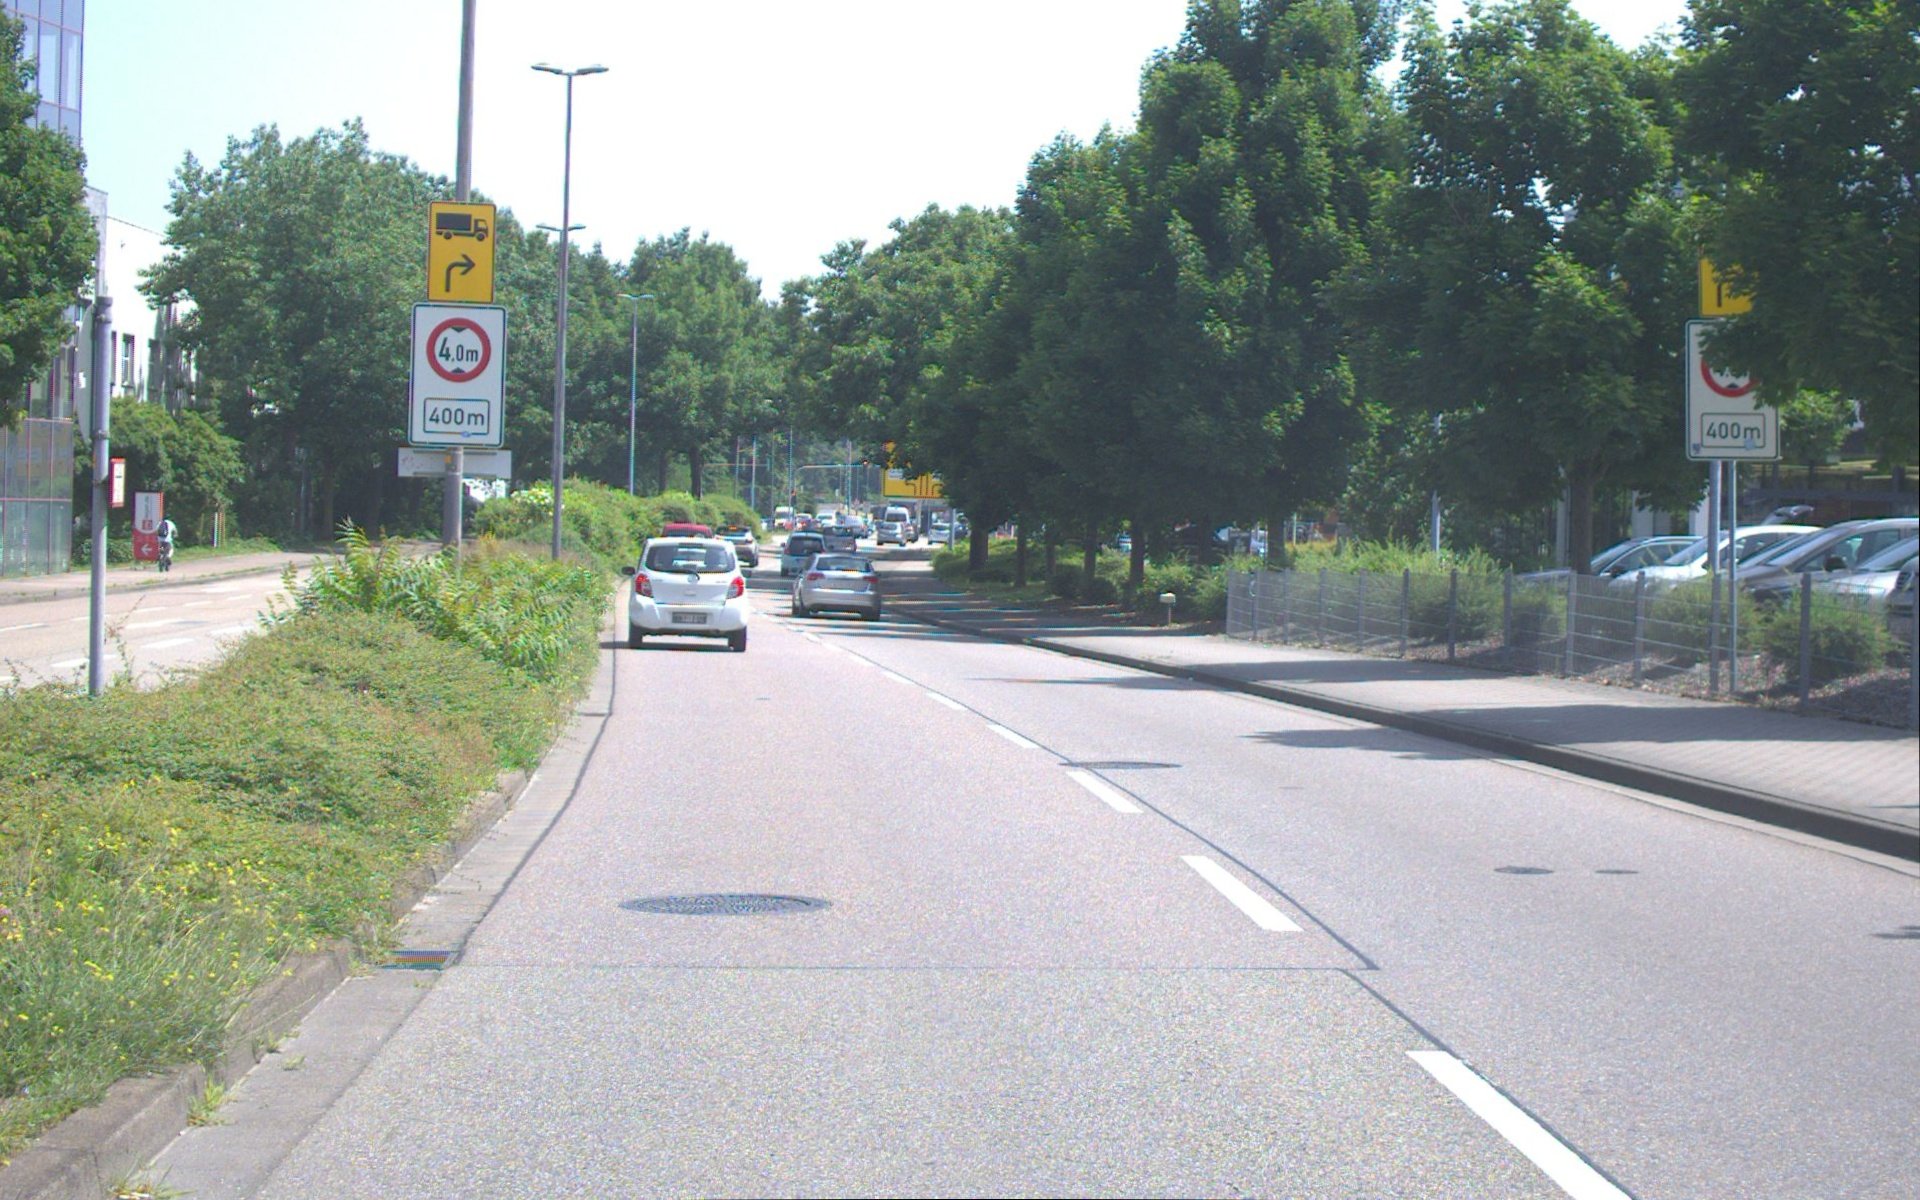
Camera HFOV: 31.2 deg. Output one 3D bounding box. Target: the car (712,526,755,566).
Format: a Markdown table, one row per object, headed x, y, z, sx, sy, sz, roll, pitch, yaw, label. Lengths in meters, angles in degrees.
| x | y | z | sx | sy | sz | roll | pitch | yaw | label |
| --- | --- | --- | --- | --- | --- | --- | --- | --- | --- |
| -8.379 | -2.008 | 127.010 | 1.487 | 1.387 | 3.308 | 3 | 1 | -5 | car |

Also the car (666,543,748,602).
| x | y | z | sx | sy | sz | roll | pitch | yaw | label |
| --- | --- | --- | --- | --- | --- | --- | --- | --- | --- |
| -6.373 | -0.710 | 86.392 | 1.884 | 1.349 | 4.001 | 3 | 1 | -6 | car |

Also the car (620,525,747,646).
| x | y | z | sx | sy | sz | roll | pitch | yaw | label |
| --- | --- | --- | --- | --- | --- | --- | --- | --- | --- |
| -3.811 | -0.221 | 47.775 | 1.638 | 1.546 | 3.325 | 2 | 1 | -4 | car |

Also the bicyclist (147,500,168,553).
| x | y | z | sx | sy | sz | roll | pitch | yaw | label |
| --- | --- | --- | --- | --- | --- | --- | --- | --- | --- |
| -23.029 | -2.113 | 98.648 | 0.545 | 1.504 | 0.343 | -1 | 1 | -5 | bicyclist |

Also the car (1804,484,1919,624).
| x | y | z | sx | sy | sz | roll | pitch | yaw | label |
| --- | --- | --- | --- | --- | --- | --- | --- | --- | --- |
| 10.923 | -0.432 | 35.300 | 3.986 | 1.385 | 1.827 | 1 | 1 | -3 | car |

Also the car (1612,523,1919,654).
| x | y | z | sx | sy | sz | roll | pitch | yaw | label |
| --- | --- | --- | --- | --- | --- | --- | --- | --- | --- |
| 10.992 | -0.157 | 46.122 | 3.986 | 1.590 | 1.827 | 2 | 1 | -7 | car |

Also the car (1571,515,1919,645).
| x | y | z | sx | sy | sz | roll | pitch | yaw | label |
| --- | --- | --- | --- | --- | --- | --- | --- | --- | --- |
| 10.009 | -0.241 | 43.766 | 3.986 | 1.528 | 1.827 | 1 | 0 | -9 | car |

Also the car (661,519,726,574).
| x | y | z | sx | sy | sz | roll | pitch | yaw | label |
| --- | --- | --- | --- | --- | --- | --- | --- | --- | --- |
| -7.961 | -1.604 | 102.433 | 1.884 | 1.603 | 4.001 | 0 | 1 | -5 | car |

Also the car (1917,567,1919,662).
| x | y | z | sx | sy | sz | roll | pitch | yaw | label |
| --- | --- | --- | --- | --- | --- | --- | --- | --- | --- |
| 10.759 | -0.171 | 29.775 | 4.366 | 1.587 | 1.827 | 2 | 1 | -2 | car |

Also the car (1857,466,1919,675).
| x | y | z | sx | sy | sz | roll | pitch | yaw | label |
| --- | --- | --- | --- | --- | --- | --- | --- | --- | --- |
| 11.110 | -0.232 | 32.651 | 4.616 | 1.918 | 1.827 | 1 | 1 | -3 | car |

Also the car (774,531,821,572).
| x | y | z | sx | sy | sz | roll | pitch | yaw | label |
| --- | --- | --- | --- | --- | --- | --- | --- | --- | --- |
| -5.515 | -1.644 | 116.346 | 1.441 | 1.343 | 3.461 | 0 | 1 | -5 | car |

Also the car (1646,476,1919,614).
| x | y | z | sx | sy | sz | roll | pitch | yaw | label |
| --- | --- | --- | --- | --- | --- | --- | --- | --- | --- |
| 10.366 | -0.626 | 40.842 | 3.986 | 1.528 | 1.827 | 1 | 0 | -3 | car |

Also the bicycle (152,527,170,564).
| x | y | z | sx | sy | sz | roll | pitch | yaw | label |
| --- | --- | --- | --- | --- | --- | --- | --- | --- | --- |
| -22.936 | -1.562 | 98.670 | 0.346 | 1.064 | 0.923 | -1 | 1 | -5 | bicycle |

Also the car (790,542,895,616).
| x | y | z | sx | sy | sz | roll | pitch | yaw | label |
| --- | --- | --- | --- | --- | --- | --- | --- | --- | --- |
| -2.570 | -0.480 | 74.424 | 1.865 | 1.468 | 4.001 | 3 | 1 | -7 | car |

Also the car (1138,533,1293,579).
| x | y | z | sx | sy | sz | roll | pitch | yaw | label |
| --- | --- | --- | --- | --- | --- | --- | --- | --- | --- |
| 7.727 | -1.354 | 104.275 | 1.947 | 1.347 | 4.714 | -1 | 1 | -40 | car |
